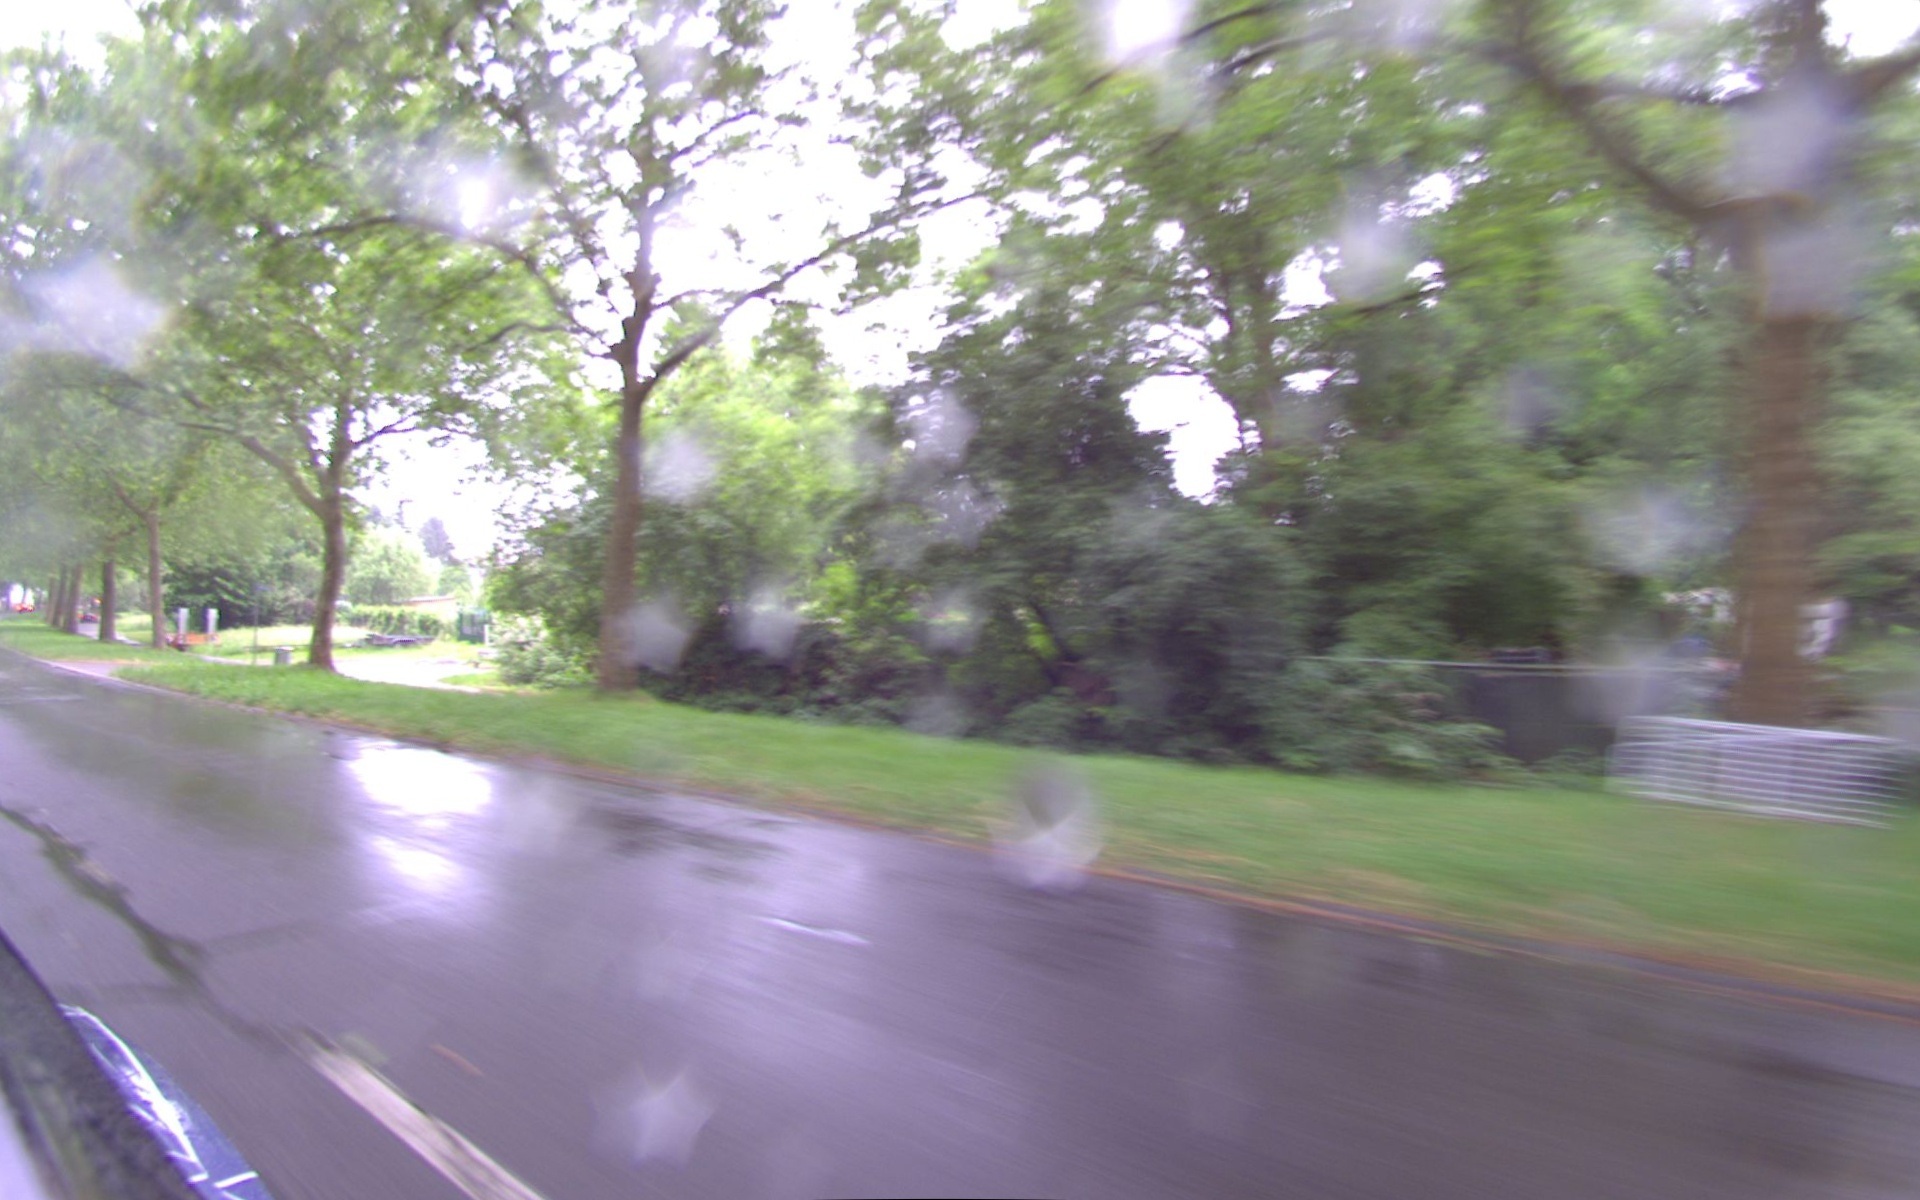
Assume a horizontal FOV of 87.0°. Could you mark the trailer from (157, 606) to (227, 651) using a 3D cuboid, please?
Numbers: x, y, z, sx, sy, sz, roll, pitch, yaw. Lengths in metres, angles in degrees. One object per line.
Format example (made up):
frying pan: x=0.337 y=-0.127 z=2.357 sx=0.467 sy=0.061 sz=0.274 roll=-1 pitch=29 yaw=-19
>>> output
trailer: x=-49.055 y=1.766 z=64.547 sx=2.766 sy=2.684 sz=6.657 roll=0 pitch=0 yaw=-44

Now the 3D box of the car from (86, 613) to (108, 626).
car: x=-122.920 y=2.792 z=144.198 sx=1.868 sy=1.695 sz=4.012 roll=0 pitch=0 yaw=-32

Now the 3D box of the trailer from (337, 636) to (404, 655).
trailer: x=-34.322 y=2.650 z=58.957 sx=1.769 sy=0.952 sz=3.041 roll=0 pitch=0 yaw=44

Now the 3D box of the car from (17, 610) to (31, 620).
car: x=-153.055 y=2.453 z=165.498 sx=3.374 sy=1.464 sz=1.572 roll=0 pitch=0 yaw=44

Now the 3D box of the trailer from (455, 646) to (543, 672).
trailer: x=-19.343 y=2.465 z=42.538 sx=2.993 sy=0.844 sz=1.679 roll=-1 pitch=1 yaw=-44

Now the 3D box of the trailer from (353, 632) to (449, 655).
trailer: x=-31.531 y=2.444 z=57.150 sx=2.382 sy=1.040 sz=4.270 roll=0 pitch=1 yaw=42
